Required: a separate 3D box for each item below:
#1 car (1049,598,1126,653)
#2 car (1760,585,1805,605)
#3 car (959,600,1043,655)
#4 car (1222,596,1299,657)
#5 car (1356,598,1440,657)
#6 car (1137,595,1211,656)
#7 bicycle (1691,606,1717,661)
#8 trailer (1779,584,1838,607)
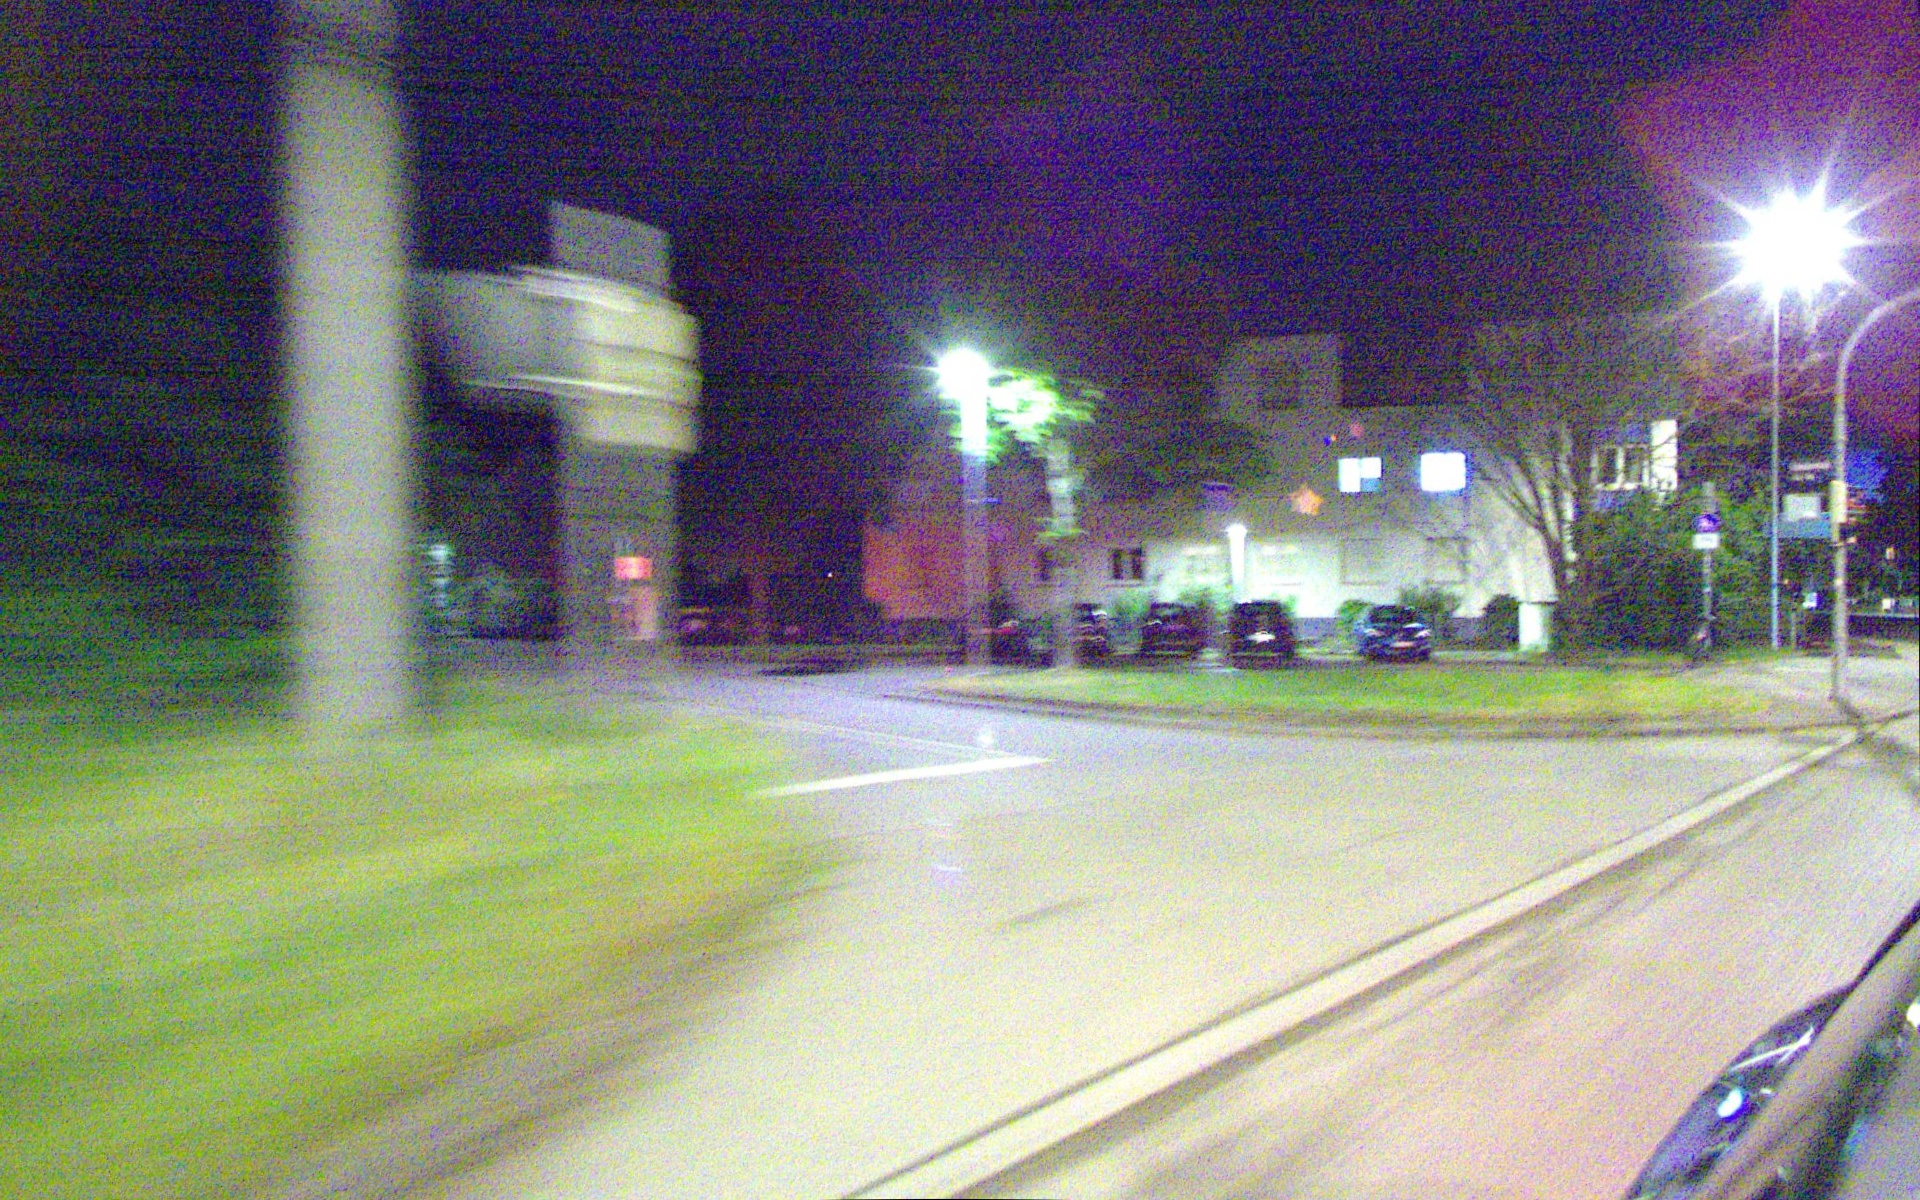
[{"bbox_3d":[3.895,0.729,30.403,1.738,1.534,3.850,-1,0,16],"label":"car"},{"bbox_3d":[74.872,-0.474,92.180,1.701,1.596,4.507,3,3,20],"label":"car"},{"bbox_3d":[1.326,0.788,30.966,1.738,1.564,3.850,0,0,16],"label":"car"},{"bbox_3d":[8.393,0.703,28.386,1.896,1.584,4.389,-1,0,16],"label":"car"},{"bbox_3d":[12.052,0.733,28.036,1.684,1.524,3.573,-1,-1,17],"label":"car"},{"bbox_3d":[6.277,0.703,29.378,1.788,1.636,4.077,-1,-1,16],"label":"car"},{"bbox_3d":[15.450,0.673,20.995,0.295,0.994,1.917,-1,3,40],"label":"bicycle"},{"bbox_3d":[73.185,-0.415,87.379,2.005,1.803,5.639,1,2,19],"label":"trailer"}]
